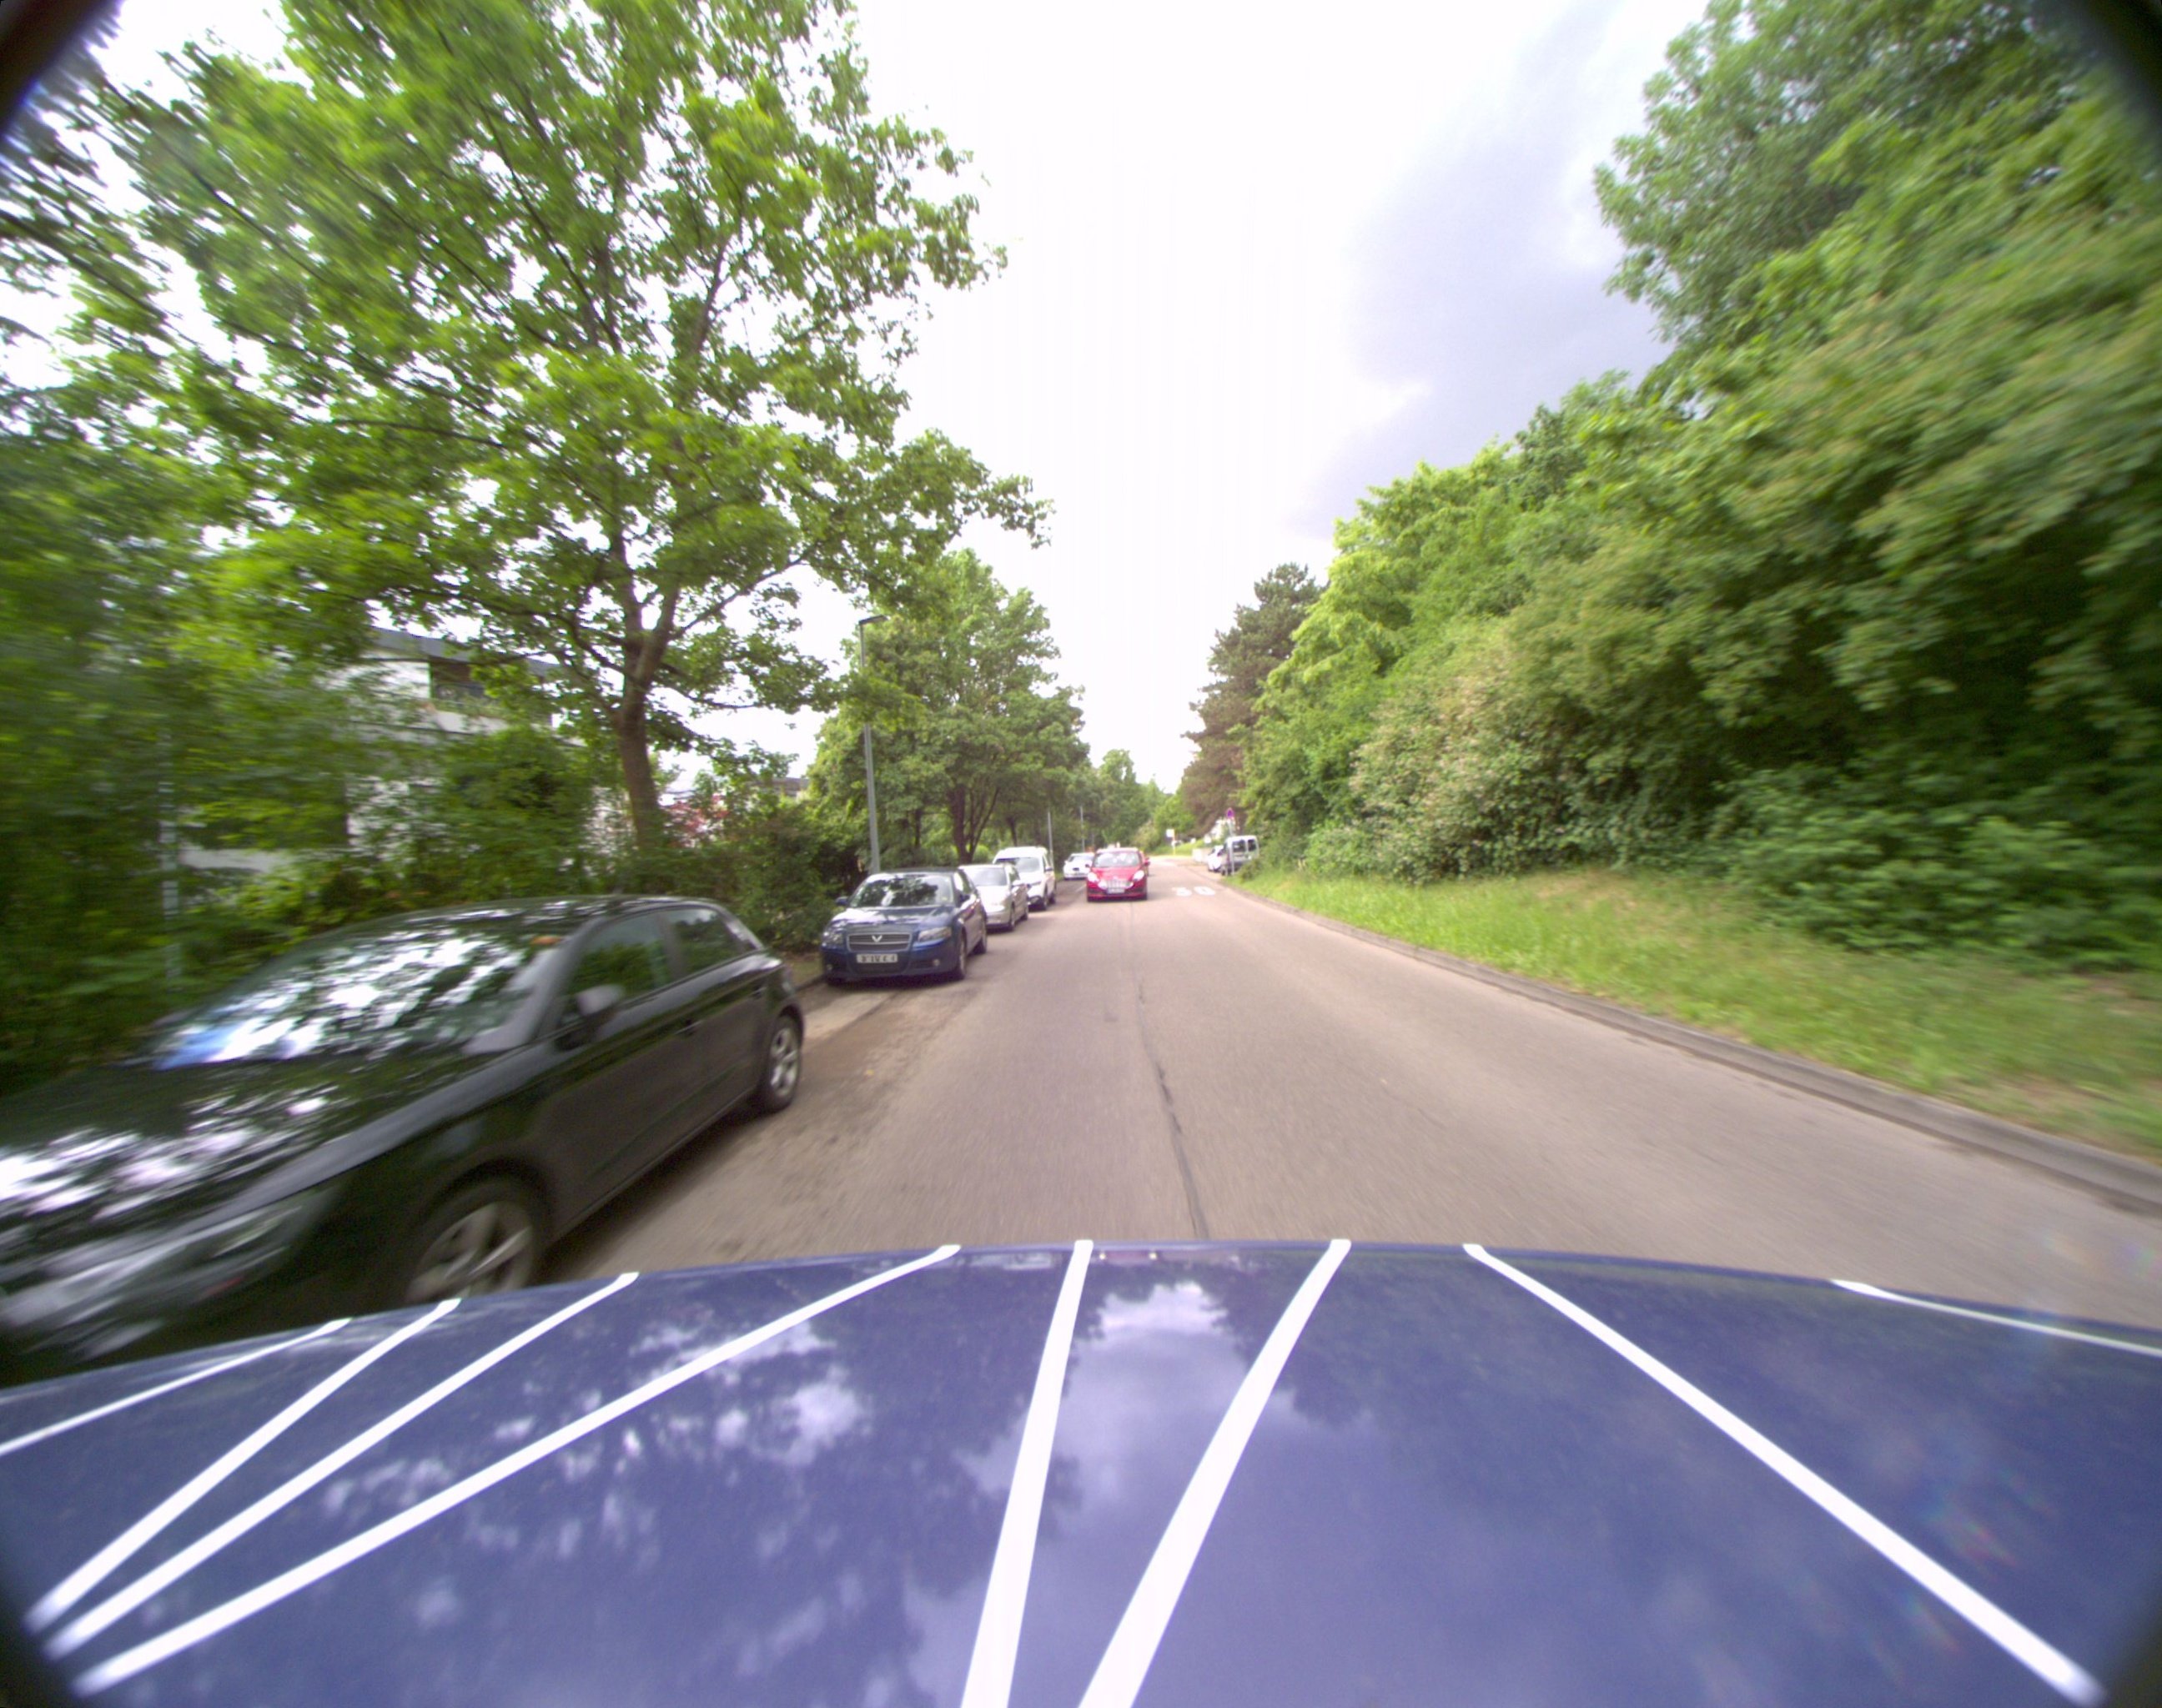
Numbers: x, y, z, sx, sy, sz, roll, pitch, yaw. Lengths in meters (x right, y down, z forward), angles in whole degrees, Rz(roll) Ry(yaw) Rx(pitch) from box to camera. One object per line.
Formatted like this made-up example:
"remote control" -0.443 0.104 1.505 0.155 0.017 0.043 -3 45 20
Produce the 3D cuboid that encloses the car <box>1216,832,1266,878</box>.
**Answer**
"car" 7.405 0.041 35.514 1.724 1.910 4.106 -5 0 6

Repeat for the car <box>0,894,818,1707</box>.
"car" -2.704 1.060 3.282 1.725 1.444 3.917 -3 0 -1

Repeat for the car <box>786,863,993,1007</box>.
"car" -2.460 0.961 10.995 1.852 1.466 4.478 -3 0 -1

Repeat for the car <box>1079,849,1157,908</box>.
"car" 1.108 0.712 24.766 1.946 1.550 4.353 -5 1 -4

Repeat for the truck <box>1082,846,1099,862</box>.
"truck" 1.595 -0.009 122.581 2.327 2.455 6.021 -5 0 3

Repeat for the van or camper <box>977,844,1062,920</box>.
"van or camper" -1.693 0.726 22.354 1.806 1.827 4.320 -3 2 4

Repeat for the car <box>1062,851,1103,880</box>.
"car" 0.162 0.606 43.490 1.890 1.498 5.177 -3 0 4

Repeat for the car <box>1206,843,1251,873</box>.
"car" 8.072 0.192 41.994 1.810 1.394 4.372 -5 0 3

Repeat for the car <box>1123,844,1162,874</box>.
"car" 3.521 0.275 43.812 1.998 1.503 4.001 -5 -1 4

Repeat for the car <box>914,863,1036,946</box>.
"car" -2.185 1.015 16.890 1.817 1.429 4.243 -4 0 3
